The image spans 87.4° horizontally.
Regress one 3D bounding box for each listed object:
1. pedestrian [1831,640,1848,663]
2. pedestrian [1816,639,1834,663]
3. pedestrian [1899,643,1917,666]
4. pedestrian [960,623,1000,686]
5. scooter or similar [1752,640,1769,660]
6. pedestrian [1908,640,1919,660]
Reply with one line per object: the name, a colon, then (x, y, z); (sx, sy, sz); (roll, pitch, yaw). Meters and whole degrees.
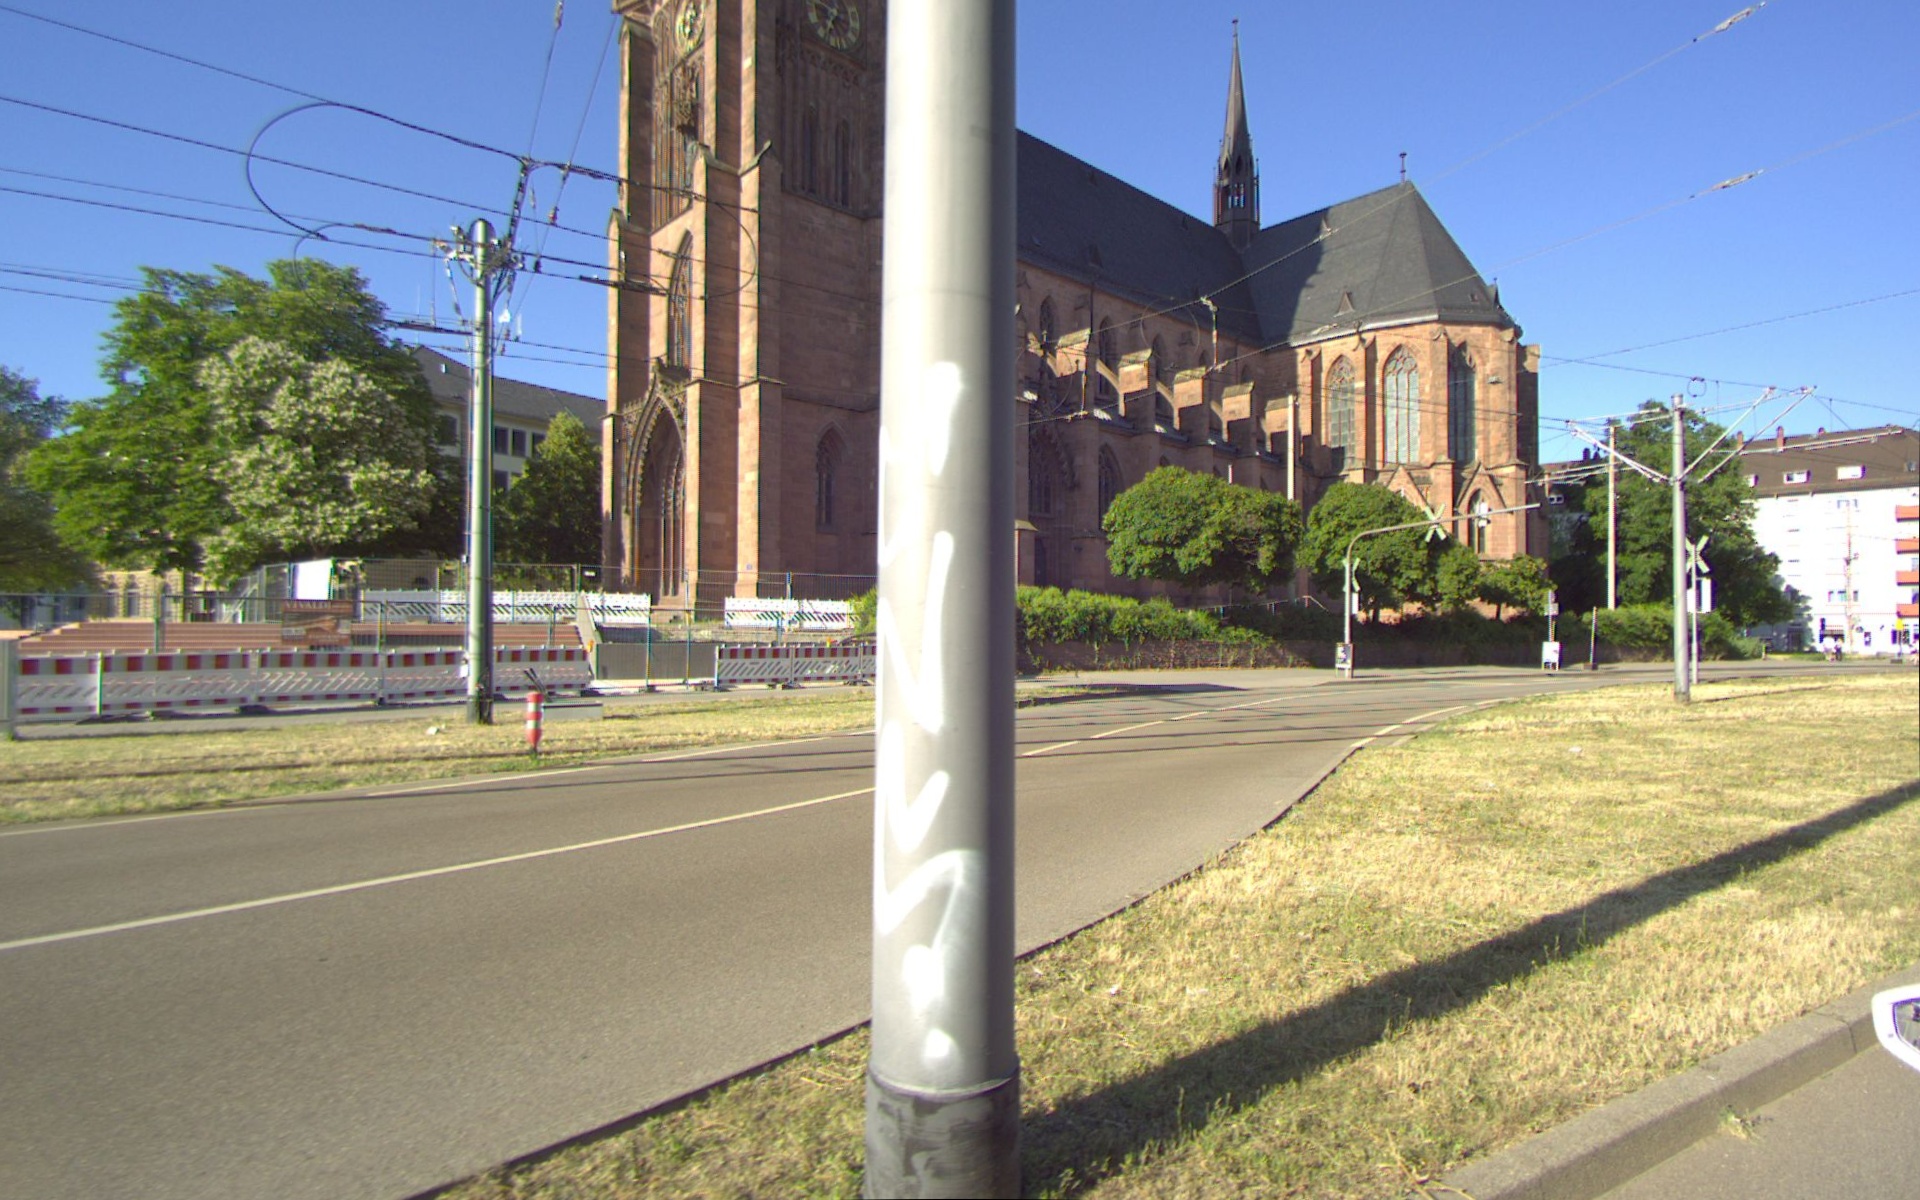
pedestrian: (59.696, 3.511, 68.181); (0.905, 1.487, 0.586); (-2, -1, -30)
pedestrian: (59.299, 3.485, 68.848); (0.887, 1.619, 0.641); (-2, -1, -30)
pedestrian: (65.101, 3.738, 68.970); (0.583, 1.487, 0.686); (-2, -1, -27)
pedestrian: (0.577, 1.593, 29.411); (0.854, 1.797, 0.724); (-2, -1, -33)
scooter or similar: (54.086, 3.357, 67.858); (1.216, 1.278, 0.399); (-2, -1, -30)
pedestrian: (71.894, 3.767, 75.591); (0.580, 1.487, 0.914); (-3, -1, 30)
